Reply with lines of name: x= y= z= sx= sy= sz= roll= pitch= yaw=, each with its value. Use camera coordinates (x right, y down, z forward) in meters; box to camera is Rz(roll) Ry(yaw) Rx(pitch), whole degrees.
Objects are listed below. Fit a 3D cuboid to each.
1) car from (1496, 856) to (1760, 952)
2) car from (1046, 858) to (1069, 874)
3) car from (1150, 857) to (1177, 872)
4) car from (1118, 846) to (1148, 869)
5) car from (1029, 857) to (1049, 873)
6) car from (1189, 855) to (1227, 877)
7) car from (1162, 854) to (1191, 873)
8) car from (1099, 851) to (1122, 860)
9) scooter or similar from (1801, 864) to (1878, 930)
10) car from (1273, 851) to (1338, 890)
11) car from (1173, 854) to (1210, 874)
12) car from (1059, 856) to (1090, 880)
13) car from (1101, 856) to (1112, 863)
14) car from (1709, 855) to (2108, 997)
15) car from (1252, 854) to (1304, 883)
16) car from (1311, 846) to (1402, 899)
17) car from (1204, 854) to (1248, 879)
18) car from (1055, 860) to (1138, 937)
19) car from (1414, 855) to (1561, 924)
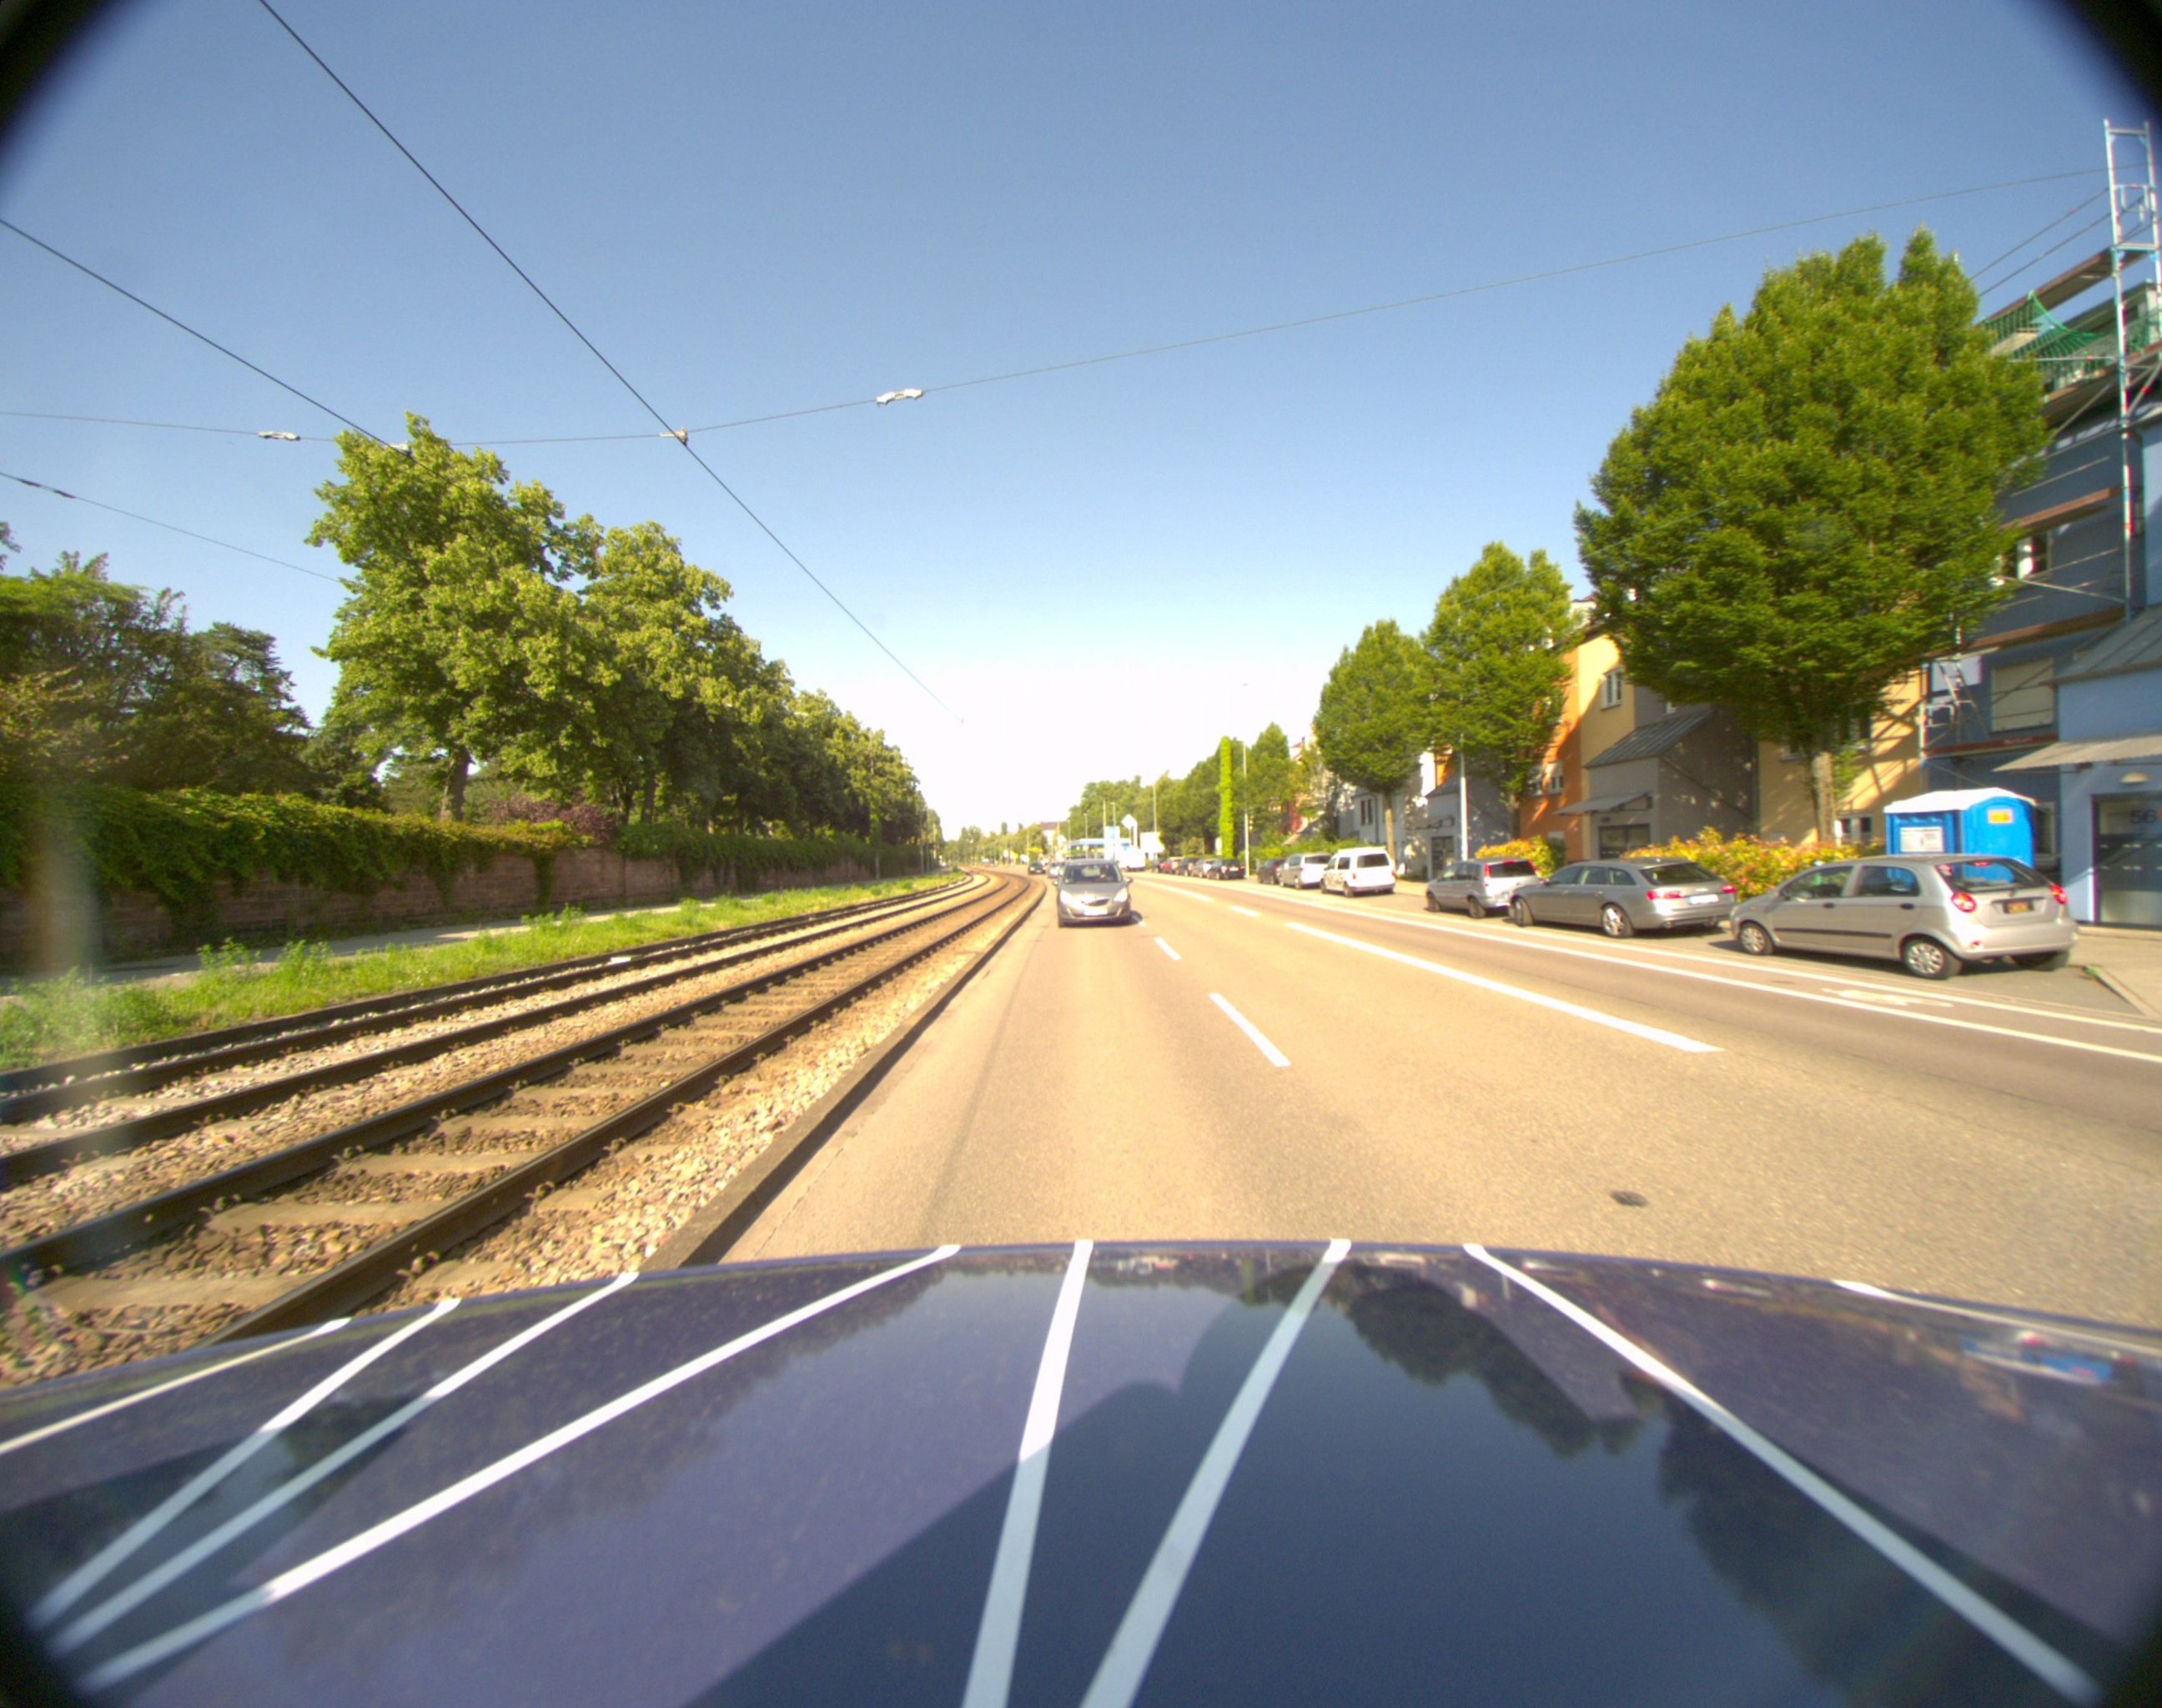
car: x=10.841 y=0.874 z=15.616 sx=1.753 sy=1.502 sz=4.754 roll=-6 pitch=0 yaw=-2
car: x=-2.017 y=1.013 z=65.060 sx=1.579 sy=1.306 sz=3.997 roll=-3 pitch=0 yaw=-7
car: x=8.242 y=1.003 z=76.186 sx=1.657 sy=1.416 sz=4.710 roll=-1 pitch=0 yaw=-7
car: x=6.177 y=0.437 z=90.996 sx=2.159 sy=2.443 sz=6.179 roll=-4 pitch=0 yaw=-10
car: x=-4.778 y=1.232 z=86.182 sx=1.711 sy=1.581 sz=3.997 roll=-3 pitch=0 yaw=-9
car: x=9.942 y=0.901 z=59.687 sx=1.717 sy=1.463 sz=4.841 roll=-3 pitch=1 yaw=-5
car: x=8.885 y=0.857 z=70.888 sx=1.768 sy=1.565 sz=4.159 roll=-2 pitch=1 yaw=-7
car: x=6.883 y=0.381 z=178.722 sx=5.086 sy=1.929 sz=1.856 roll=-1 pitch=0 yaw=-5
scooter or similar: x=13.853 y=0.766 z=13.899 sx=0.294 sy=1.147 sz=1.042 roll=-1 pitch=0 yaw=-4
car: x=10.858 y=0.766 z=37.049 sx=1.672 sy=1.691 sz=4.824 roll=-3 pitch=0 yaw=0
car: x=9.386 y=0.811 z=65.023 sx=1.768 sy=1.565 sz=4.433 roll=-3 pitch=0 yaw=-10
car: x=-0.482 y=0.953 z=52.151 sx=1.711 sy=1.487 sz=3.998 roll=-3 pitch=0 yaw=-5
car: x=5.410 y=1.173 z=161.277 sx=1.742 sy=1.482 sz=4.271 roll=-1 pitch=0 yaw=-8
car: x=11.046 y=0.837 z=10.565 sx=1.605 sy=1.486 sz=3.509 roll=-6 pitch=0 yaw=0
car: x=10.948 y=0.799 z=42.480 sx=1.620 sy=1.457 sz=4.057 roll=-3 pitch=0 yaw=-2
car: x=11.054 y=0.688 z=30.867 sx=1.767 sy=1.835 sz=4.579 roll=-6 pitch=0 yaw=-1
car: x=10.191 y=0.843 z=53.807 sx=1.871 sy=1.535 sz=4.908 roll=-4 pitch=0 yaw=-3
car: x=0.299 y=0.974 z=18.160 sx=1.730 sy=1.574 sz=3.763 roll=-2 pitch=0 yaw=-1
car: x=10.897 y=0.874 z=20.711 sx=1.767 sy=1.530 sz=3.981 roll=-6 pitch=0 yaw=1
